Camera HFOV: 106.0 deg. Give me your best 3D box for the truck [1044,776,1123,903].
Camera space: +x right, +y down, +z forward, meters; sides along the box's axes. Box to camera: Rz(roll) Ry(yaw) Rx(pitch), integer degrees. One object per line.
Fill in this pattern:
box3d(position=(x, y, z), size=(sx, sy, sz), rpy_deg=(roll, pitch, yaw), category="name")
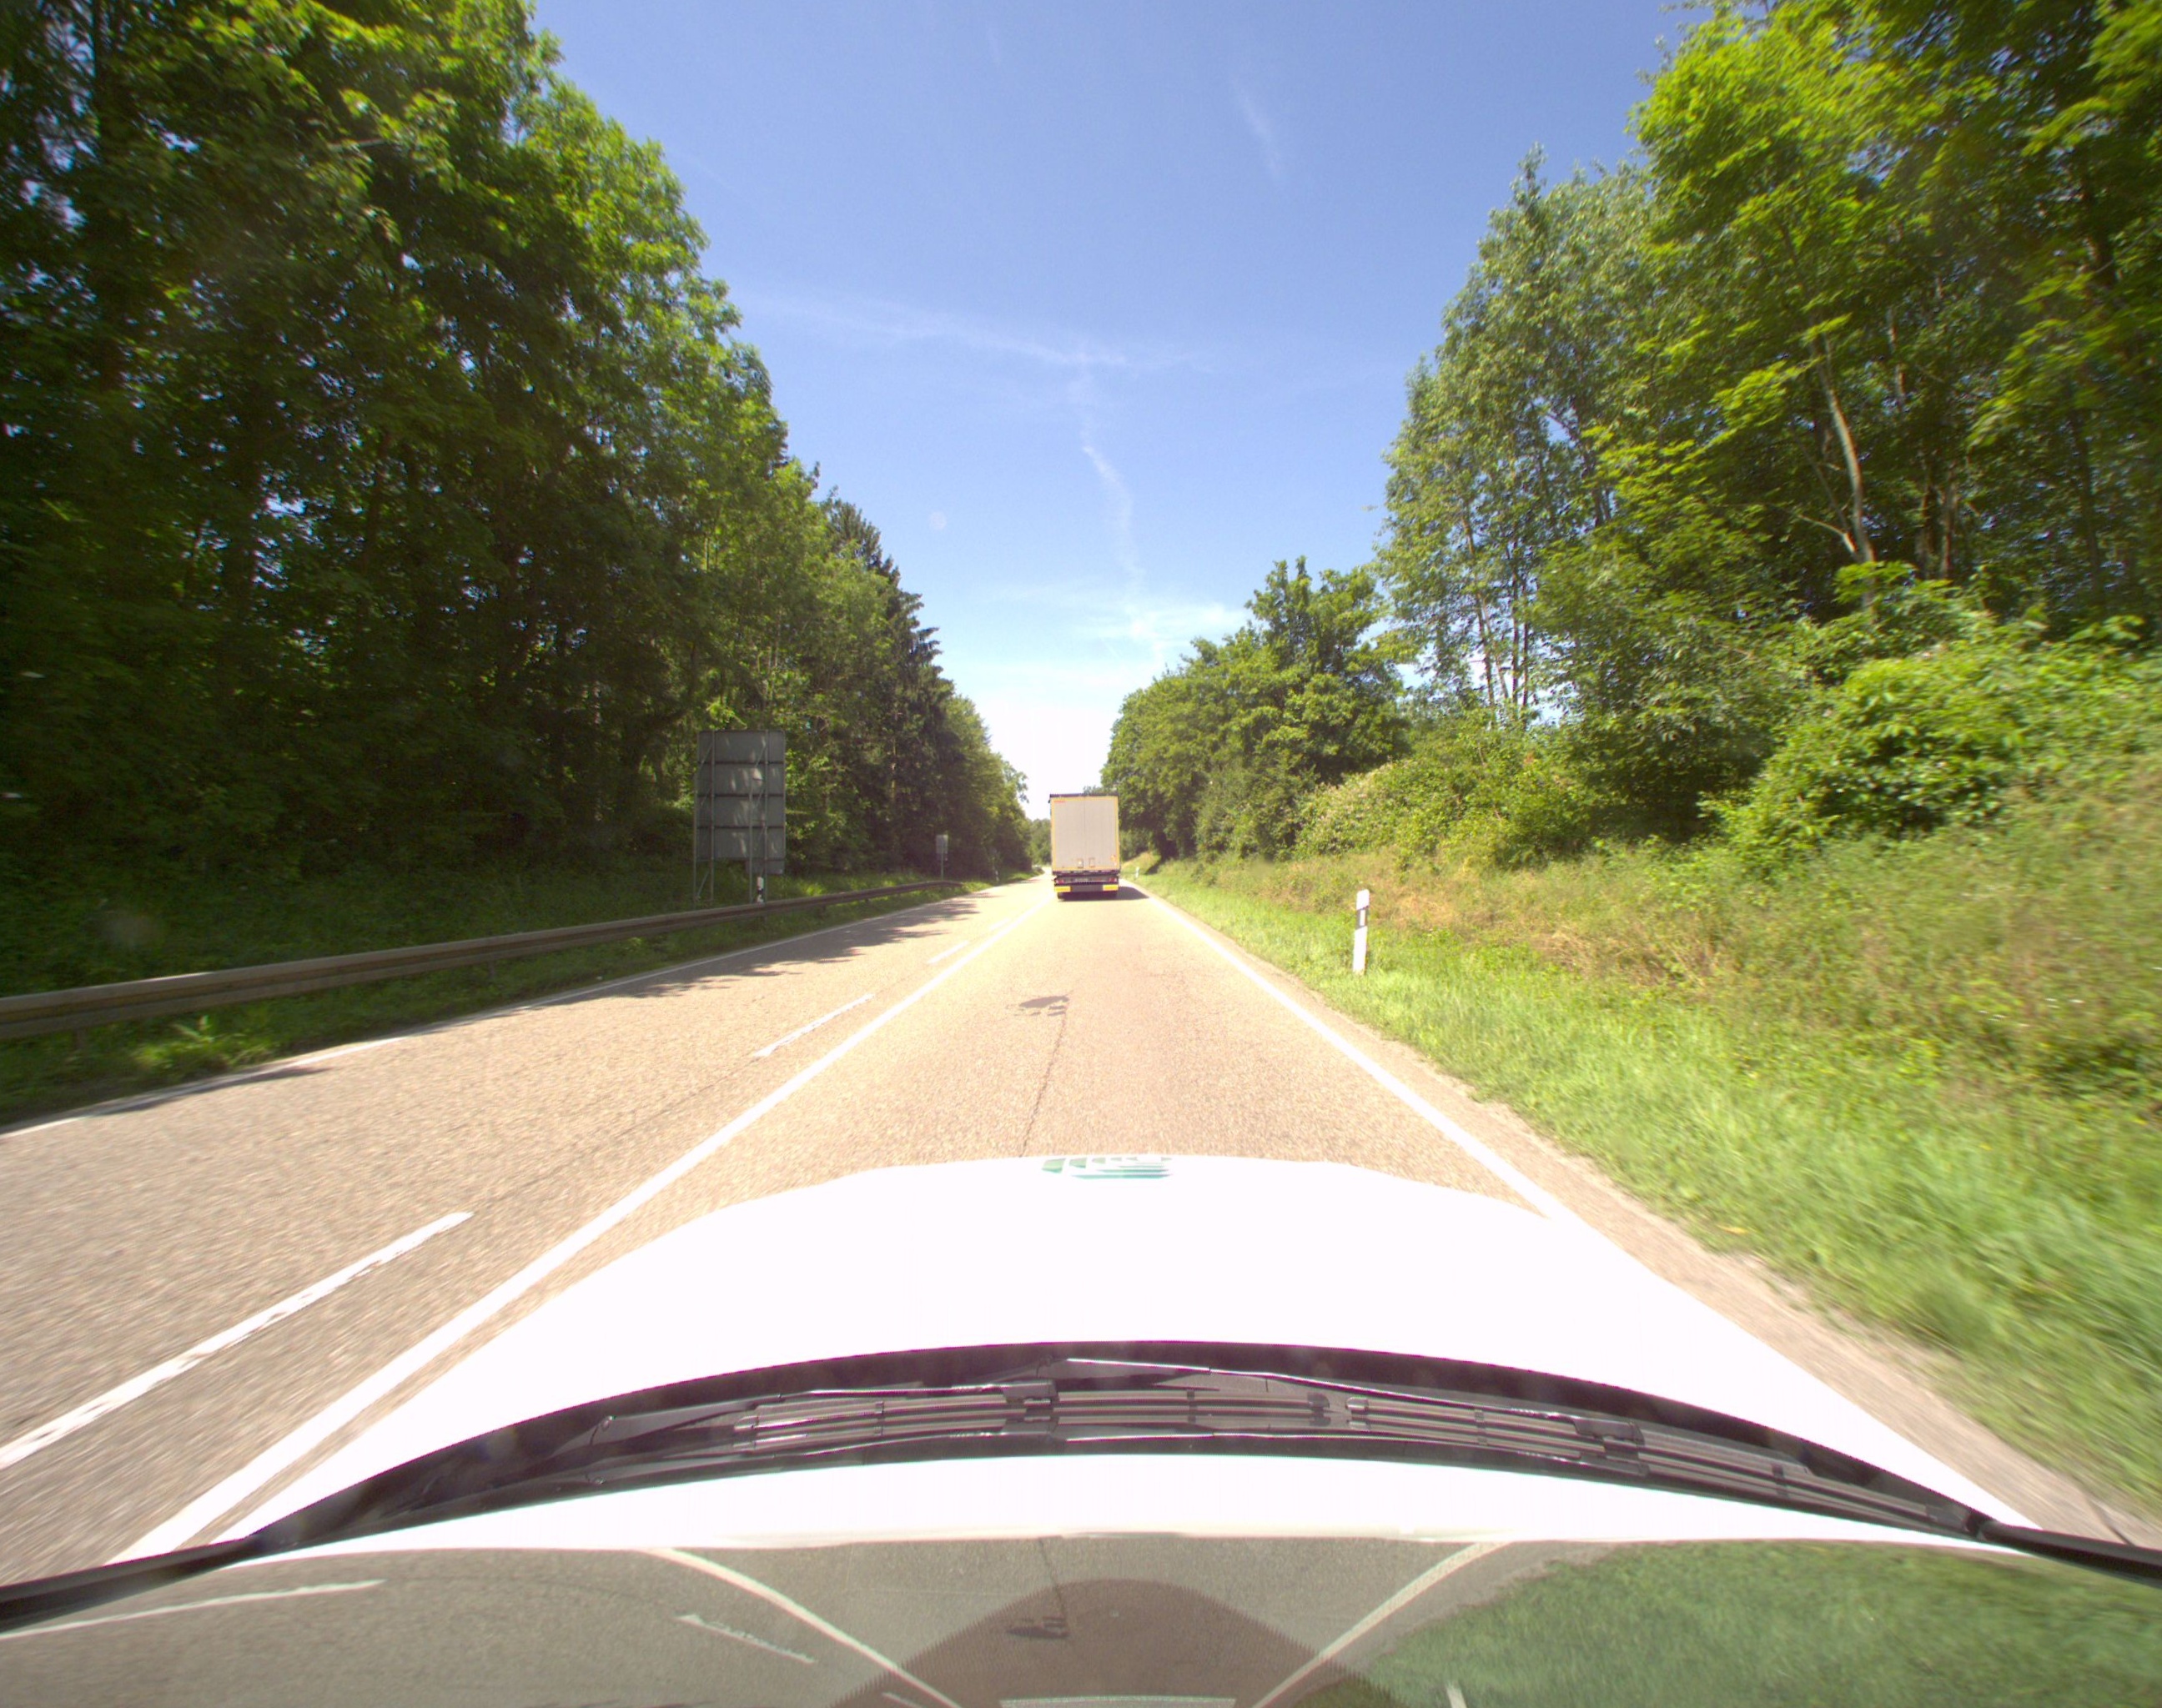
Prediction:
box3d(position=(0.221, -0.496, 33.204), size=(2.812, 4.604, 6.668), rpy_deg=(-1, -1, 2), category="truck")
